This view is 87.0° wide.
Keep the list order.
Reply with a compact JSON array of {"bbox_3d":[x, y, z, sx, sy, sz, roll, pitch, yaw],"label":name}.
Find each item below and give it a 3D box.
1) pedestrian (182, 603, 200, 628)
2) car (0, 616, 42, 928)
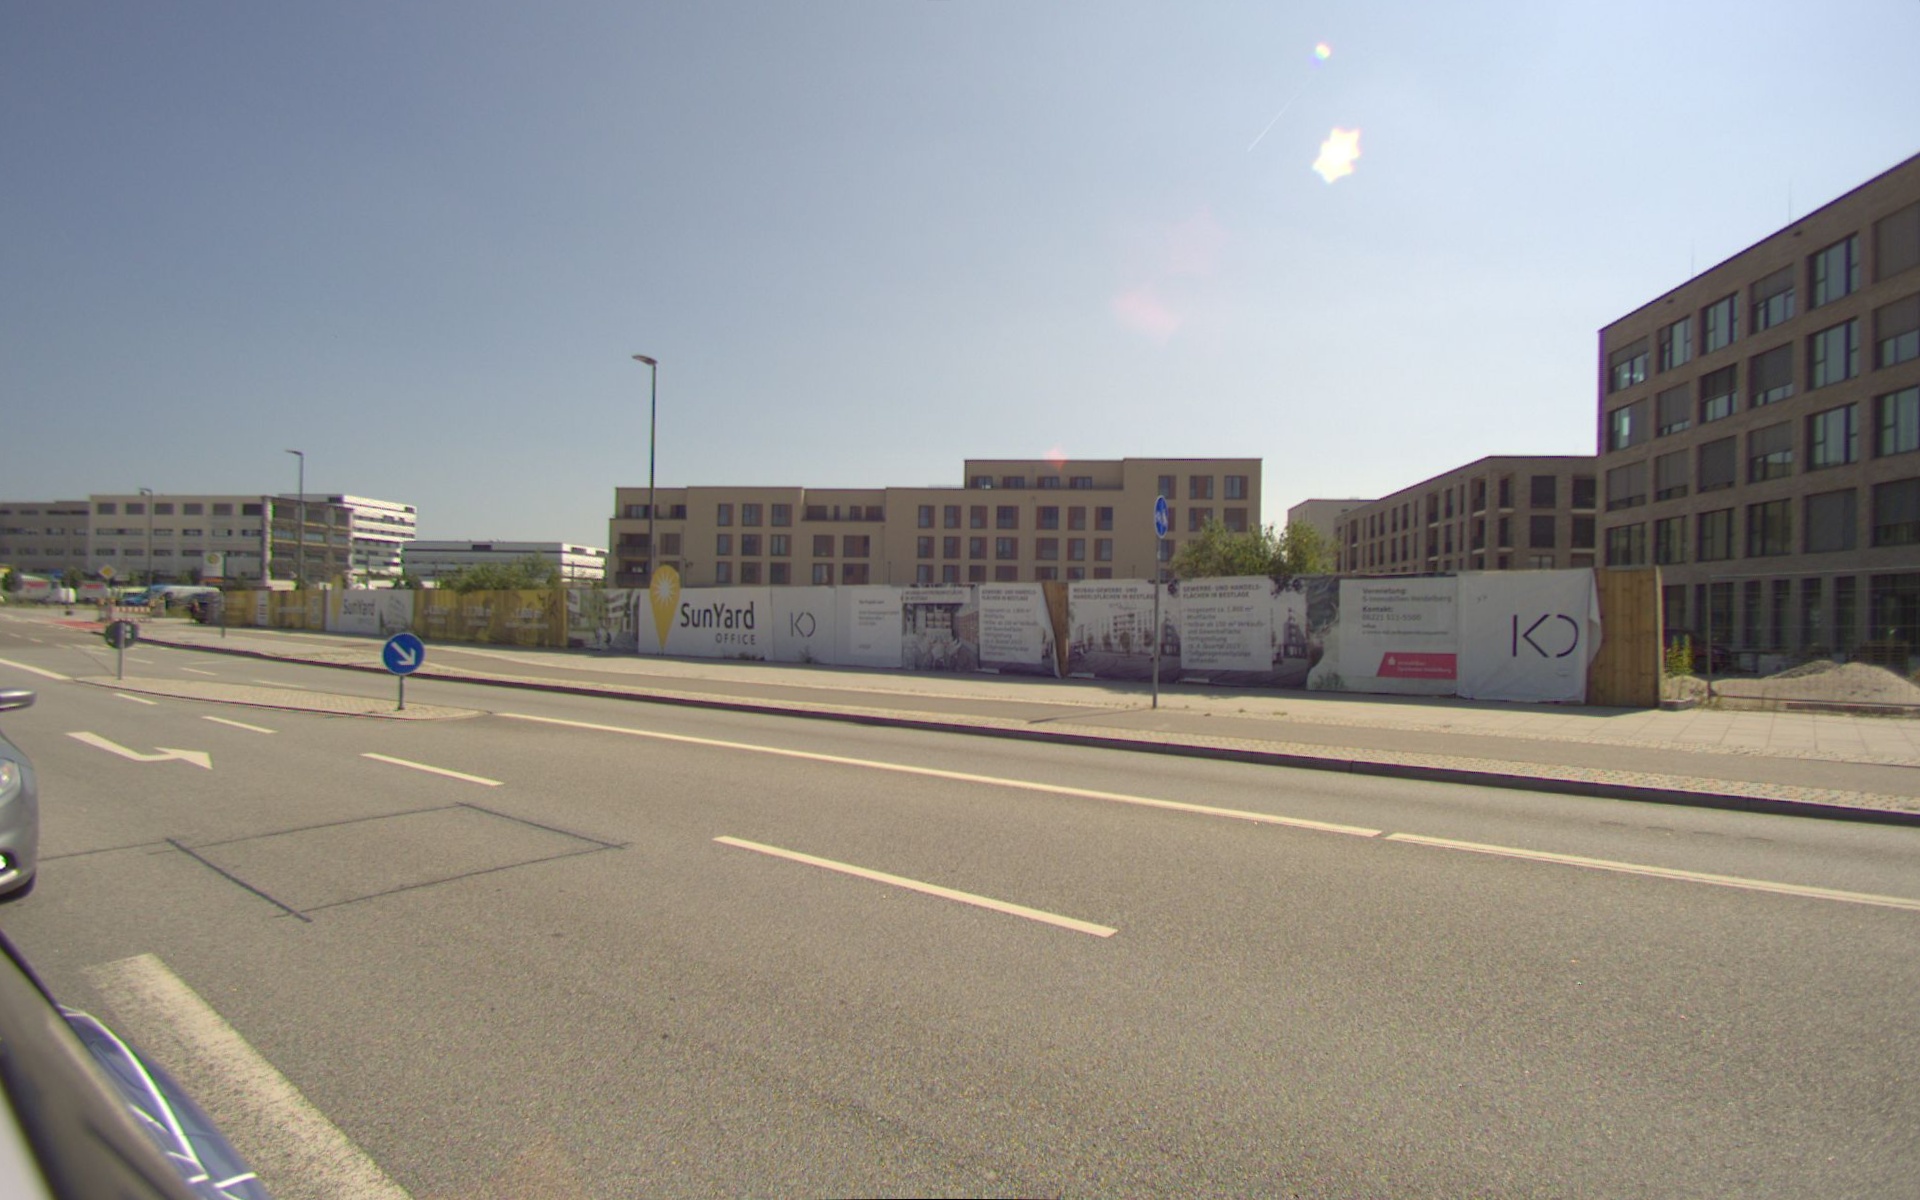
[{"bbox_3d":[-48.987,0.984,64.465,0.610,1.598,0.703,-1,0,5],"label":"pedestrian"},{"bbox_3d":[-6.324,0.797,5.319,4.134,1.390,1.762,-1,0,41],"label":"car"}]
